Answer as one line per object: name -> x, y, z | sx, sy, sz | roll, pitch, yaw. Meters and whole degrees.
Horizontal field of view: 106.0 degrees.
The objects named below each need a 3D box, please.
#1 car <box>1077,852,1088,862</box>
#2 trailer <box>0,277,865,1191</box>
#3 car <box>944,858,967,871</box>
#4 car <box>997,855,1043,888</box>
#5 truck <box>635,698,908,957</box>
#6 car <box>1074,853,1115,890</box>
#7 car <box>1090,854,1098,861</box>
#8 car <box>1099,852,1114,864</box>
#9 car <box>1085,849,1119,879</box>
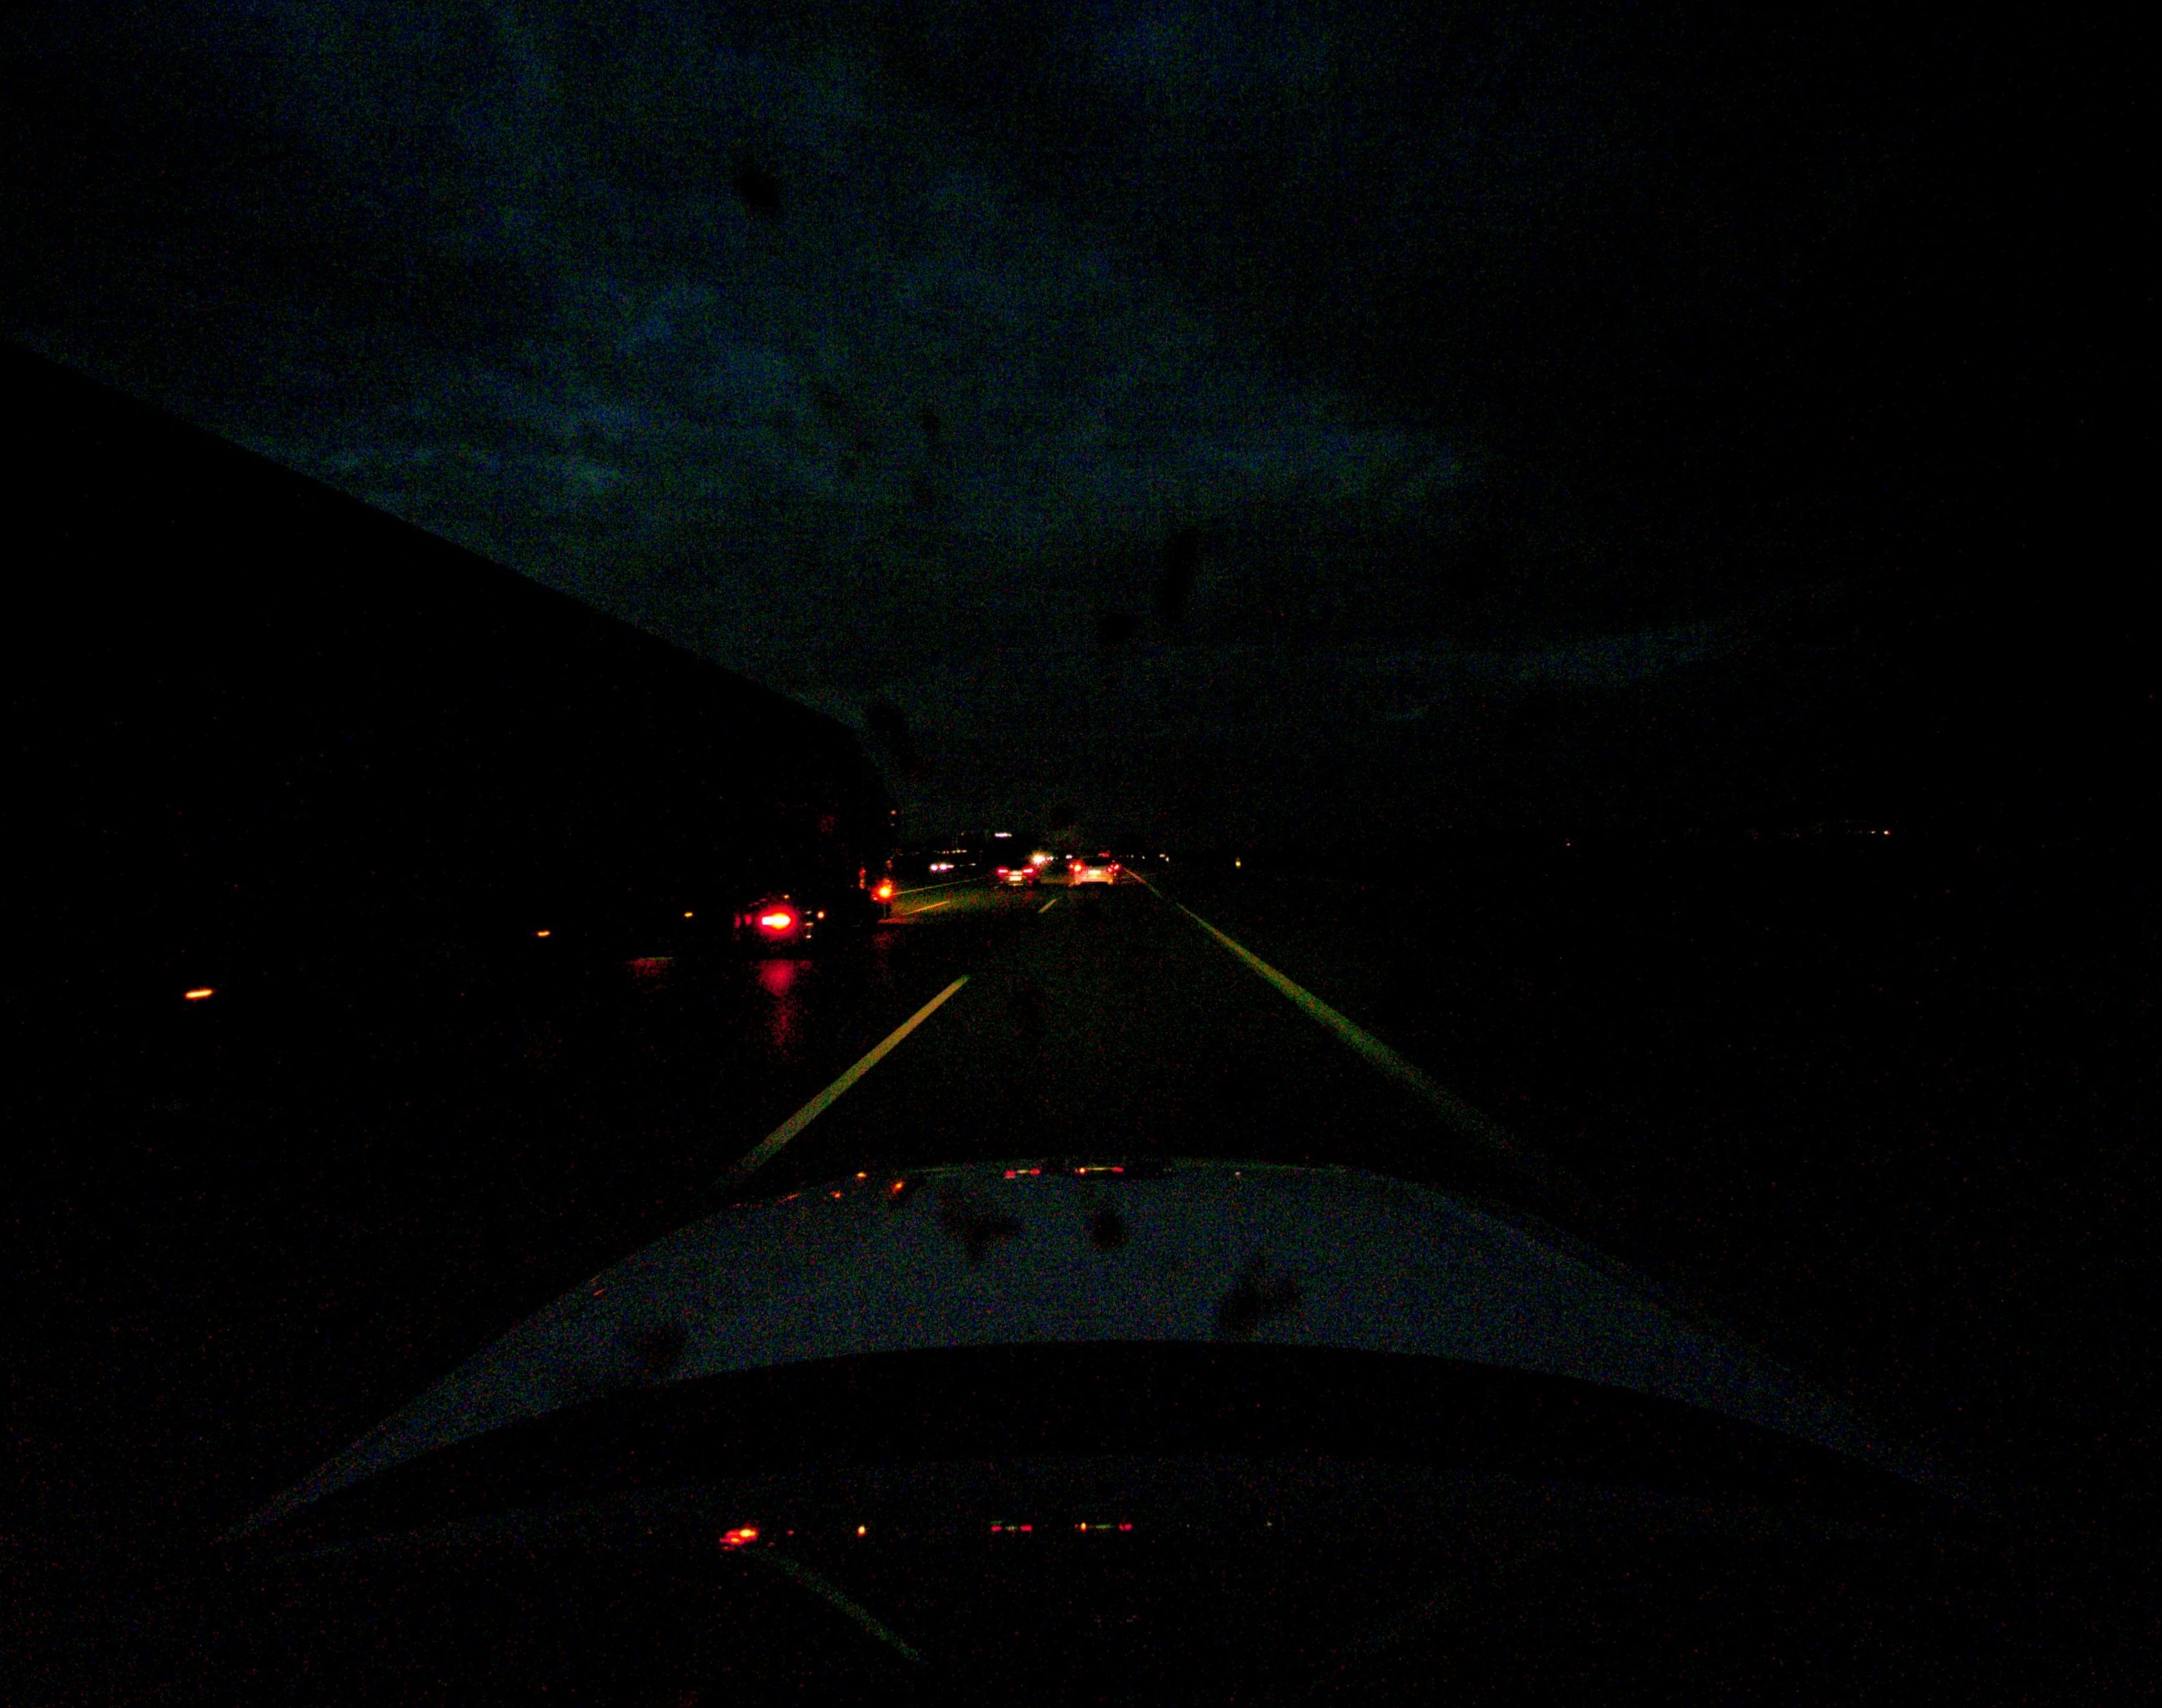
car -> 0.231, 0.541, 141.519 | 1.873, 1.552, 4.000 | 0, -1, 1
trailer -> -5.981, -0.468, 8.649 | 2.783, 4.085, 14.534 | -2, -1, 3
car -> -13.446, 1.106, 87.602 | 1.726, 1.369, 3.902 | 0, -1, 2
car -> -2.856, 0.833, 39.149 | 1.716, 1.471, 4.727 | 0, -1, 1
truck -> -5.655, -0.397, 16.173 | 2.766, 4.093, 6.106 | -2, -1, 2
car -> 0.648, 0.762, 36.512 | 1.737, 1.525, 4.416 | 0, -1, 2
car -> 3.434, 0.928, 217.982 | 2.191, 1.879, 4.001 | 0, -1, 1
car -> 3.198, 0.500, 102.370 | 1.873, 1.552, 4.000 | 0, -1, 1
car -> 1.197, 0.587, 46.515 | 1.873, 1.643, 4.001 | 0, -1, 1
